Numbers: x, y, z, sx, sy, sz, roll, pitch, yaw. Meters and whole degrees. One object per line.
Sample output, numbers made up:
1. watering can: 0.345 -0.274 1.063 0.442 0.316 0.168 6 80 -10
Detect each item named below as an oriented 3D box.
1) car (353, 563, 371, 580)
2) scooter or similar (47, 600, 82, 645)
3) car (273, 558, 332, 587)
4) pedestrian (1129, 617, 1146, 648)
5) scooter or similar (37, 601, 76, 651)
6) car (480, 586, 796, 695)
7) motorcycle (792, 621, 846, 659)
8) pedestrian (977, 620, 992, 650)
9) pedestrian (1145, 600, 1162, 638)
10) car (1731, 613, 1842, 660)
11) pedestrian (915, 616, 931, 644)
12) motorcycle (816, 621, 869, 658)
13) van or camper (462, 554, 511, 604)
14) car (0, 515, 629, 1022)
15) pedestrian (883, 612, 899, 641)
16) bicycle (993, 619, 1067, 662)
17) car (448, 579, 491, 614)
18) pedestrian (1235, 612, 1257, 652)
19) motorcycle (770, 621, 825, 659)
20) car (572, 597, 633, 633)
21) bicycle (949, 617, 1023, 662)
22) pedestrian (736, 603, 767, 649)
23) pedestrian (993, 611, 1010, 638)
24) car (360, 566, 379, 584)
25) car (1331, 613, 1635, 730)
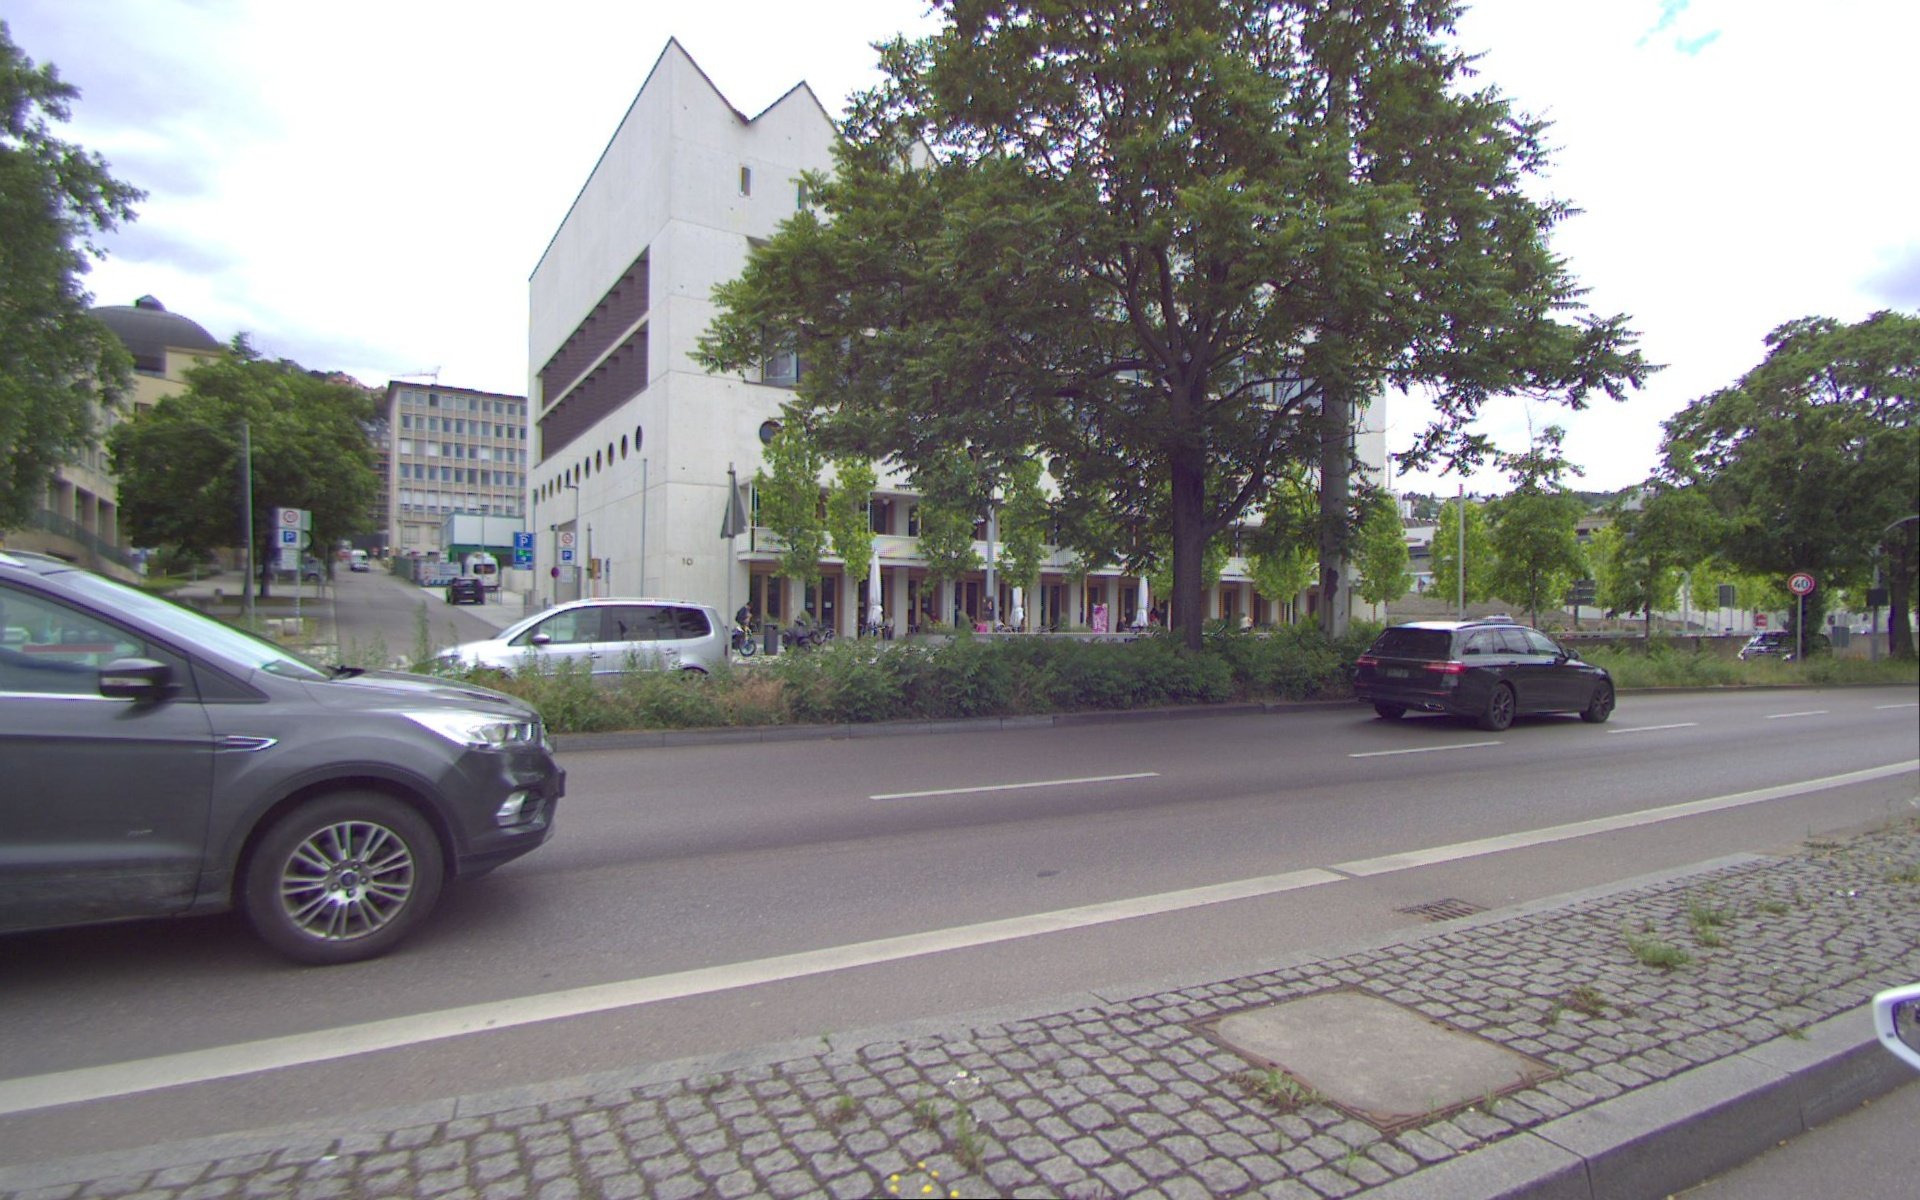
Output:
1. car: -80.871 -3.806 135.825 1.979 2.040 3.964 1 -1 -33
2. scooter or similar: -27.634 0.680 31.003 0.532 1.358 1.407 1 -1 -31
3. car: -50.358 -2.099 76.967 3.640 2.040 1.576 1 -1 -30
4. pedestrian: 9.770 1.778 55.274 0.623 1.655 0.629 2 -1 -31
5. scooter or similar: -25.293 0.716 28.139 0.532 1.358 1.407 1 -1 -31
6. car: -4.637 0.564 14.640 4.039 1.350 1.786 2 1 -34
7. motorcycle: -4.958 1.397 35.229 1.858 1.249 0.657 0 -3 34
8. pedestrian: 1.169 1.687 47.977 0.622 1.344 0.651 -2 -5 -5
9. pedestrian: 10.631 1.061 55.265 0.623 2.039 0.629 2 -5 -31
10. car: 32.062 1.412 38.948 4.391 1.740 1.849 1 -2 -29
11. pedestrian: -1.829 1.484 49.297 0.559 1.344 0.516 3 -2 -31
12. motorcycle: -4.217 1.408 35.930 1.858 1.249 0.657 0 -3 34
13. van or camper: -34.148 -1.538 72.366 2.371 3.391 6.276 2 1 -32
14. car: -3.942 0.563 4.137 4.605 1.738 1.884 1 0 -31
15. pedestrian: -3.291 1.252 47.875 0.559 1.344 0.516 3 -2 -31
16. bicycle: 2.864 1.637 41.636 1.170 1.706 3.593 1 -1 -32
17. car: -30.152 -0.253 61.687 1.977 1.874 3.966 2 2 -31
18. pedestrian: 15.403 1.720 54.092 0.732 2.037 0.706 4 -10 -39
19. motorcycle: -5.575 1.357 34.458 1.858 1.249 0.657 0 -3 34
20. car: -15.774 0.652 44.255 1.732 1.293 3.965 2 2 -31
21. bicycle: 1.005 1.543 40.072 1.170 1.706 3.593 1 -1 -32
22. pedestrian: -7.310 0.898 35.170 0.865 1.577 0.598 0 -1 16
23. pedestrian: 2.101 1.250 50.879 0.643 1.345 0.630 1 0 -29
24. car: -76.870 -3.220 130.747 1.979 2.040 3.964 1 -1 -33
25. car: 7.938 1.020 15.118 4.808 1.479 1.803 2 0 -31
